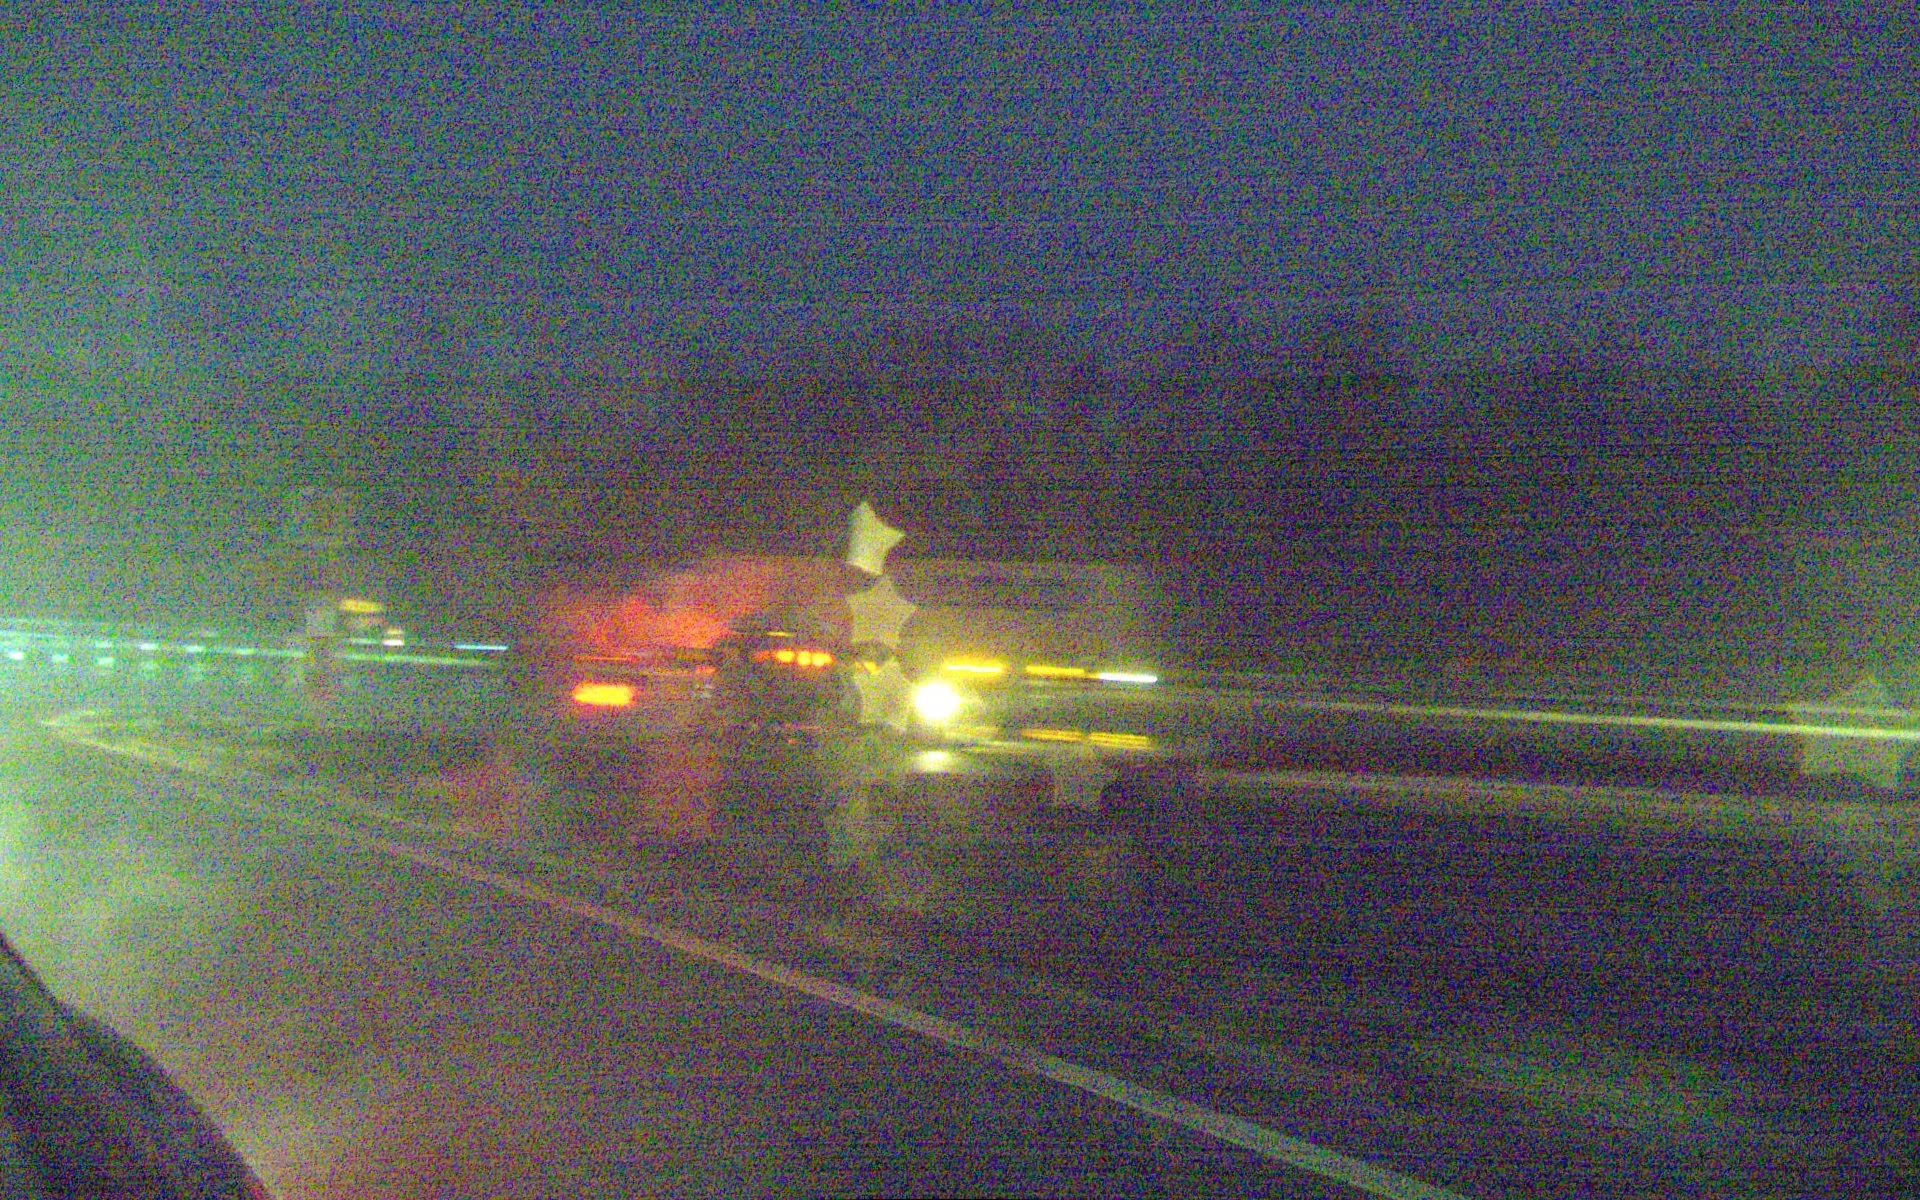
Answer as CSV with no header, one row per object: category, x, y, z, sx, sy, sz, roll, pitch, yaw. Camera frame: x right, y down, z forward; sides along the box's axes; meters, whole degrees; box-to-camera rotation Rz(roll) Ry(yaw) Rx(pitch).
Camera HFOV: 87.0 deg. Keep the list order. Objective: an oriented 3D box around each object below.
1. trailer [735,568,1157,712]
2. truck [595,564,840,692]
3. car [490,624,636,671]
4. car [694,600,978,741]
trailer,-0.395,1.175,32.901,13.228,3.907,3.437,2,-1,13
truck,-8.227,0.929,34.799,7.384,4.003,3.395,1,-2,13
car,-12.201,1.441,31.178,3.977,1.289,1.636,1,-2,14
car,-2.050,1.125,17.153,4.418,2.121,1.748,1,-2,13
